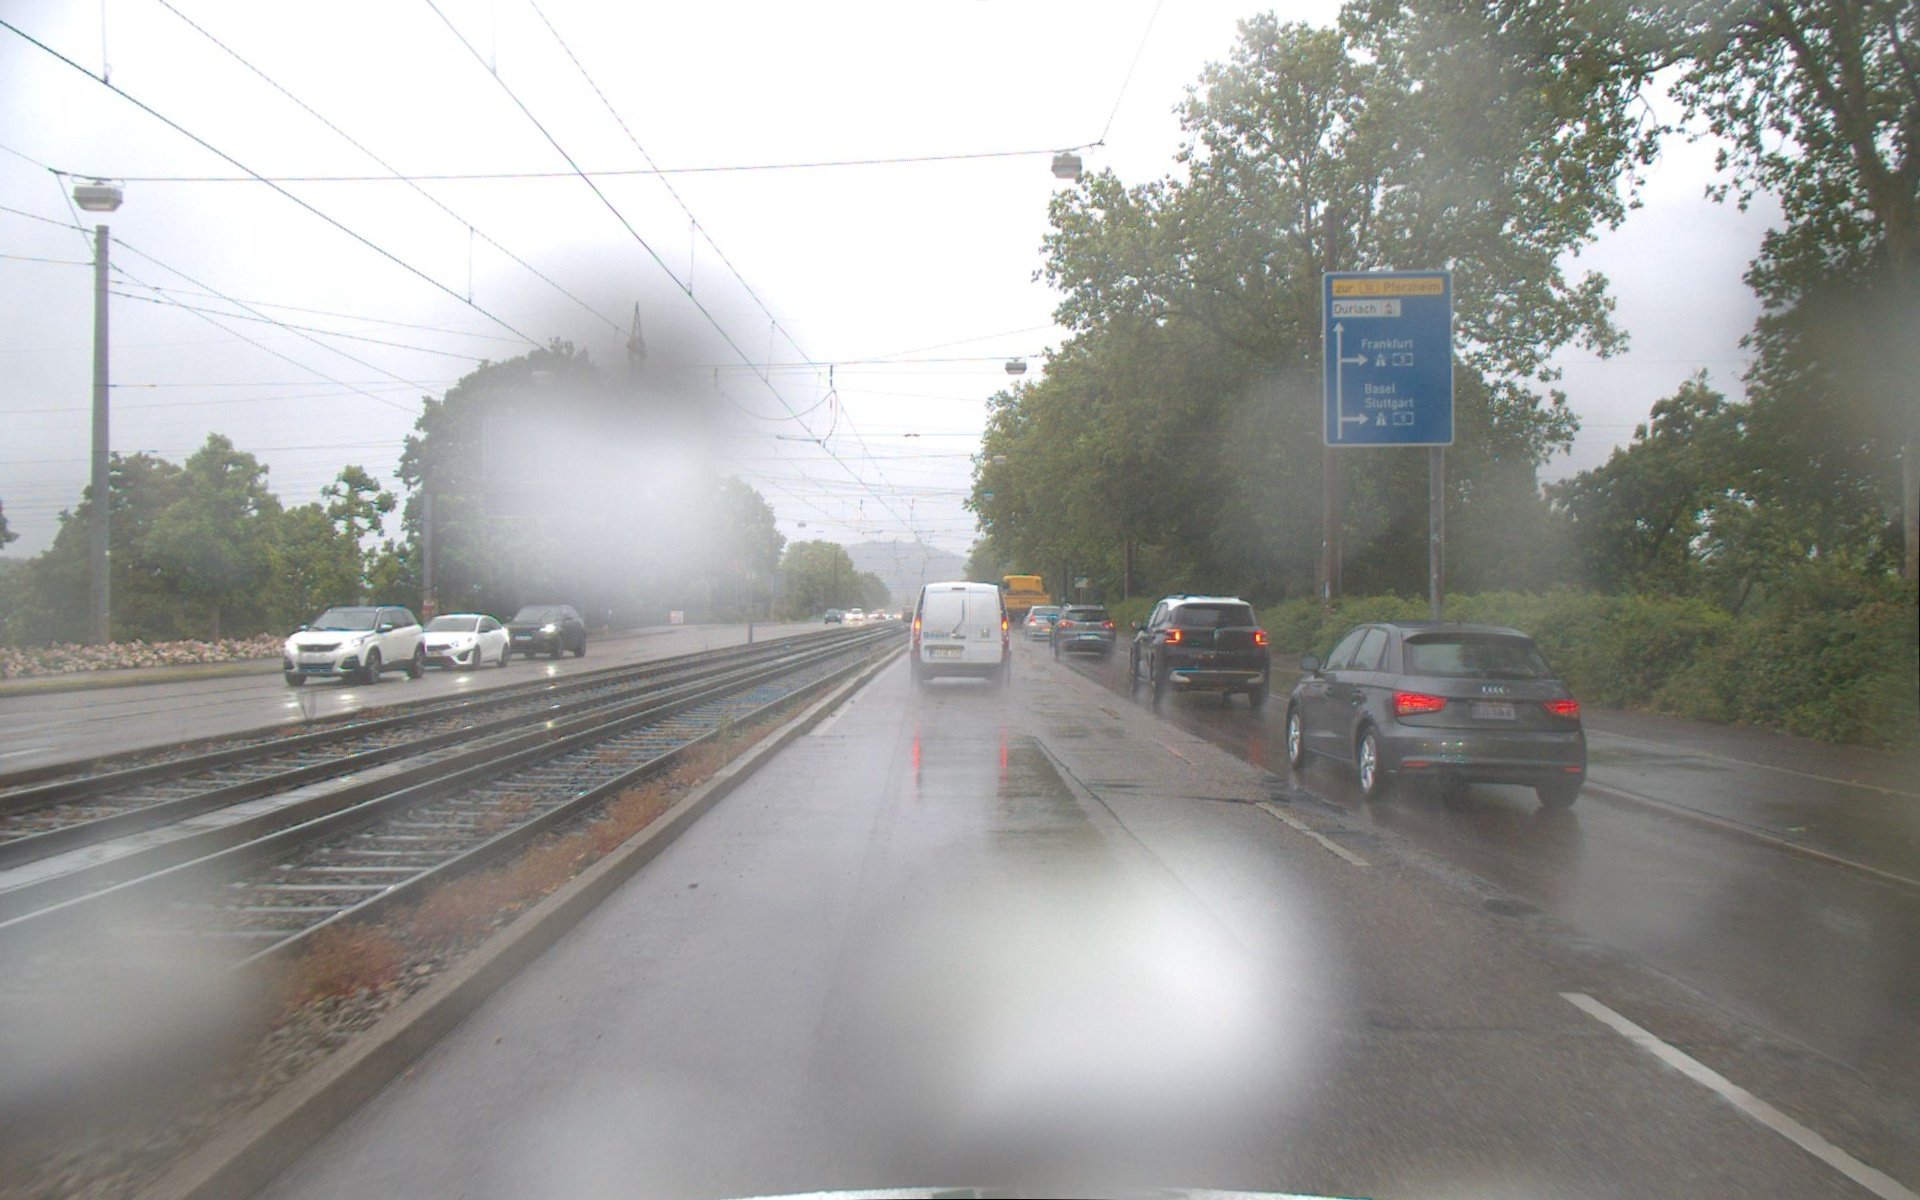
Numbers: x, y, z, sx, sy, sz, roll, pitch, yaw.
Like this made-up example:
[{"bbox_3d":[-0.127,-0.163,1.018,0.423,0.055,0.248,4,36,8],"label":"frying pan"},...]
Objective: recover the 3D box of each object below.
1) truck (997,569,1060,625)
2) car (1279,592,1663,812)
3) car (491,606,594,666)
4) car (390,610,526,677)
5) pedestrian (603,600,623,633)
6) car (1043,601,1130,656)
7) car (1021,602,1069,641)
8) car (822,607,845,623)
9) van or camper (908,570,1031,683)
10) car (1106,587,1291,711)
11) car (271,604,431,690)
[{"bbox_3d":[3.604,-0.170,88.226,3.049,2.822,6.328,1,0,0],"label":"truck"},{"bbox_3d":[4.109,0.736,14.050,1.928,1.555,3.990,1,1,-2],"label":"car"},{"bbox_3d":[-13.130,1.096,52.320,1.952,1.751,4.882,-1,0,0],"label":"car"},{"bbox_3d":[-13.213,1.103,43.809,1.952,1.611,4.767,-1,0,2],"label":"car"},{"bbox_3d":[-19.329,0.906,92.203,0.834,1.790,1.121,-1,0,0],"label":"pedestrian"},{"bbox_3d":[3.535,0.772,46.756,1.783,1.438,3.774,1,1,-6],"label":"car"},{"bbox_3d":[3.420,0.839,66.876,1.781,1.438,3.779,1,1,1],"label":"car"},{"bbox_3d":[-13.212,1.577,172.534,1.952,1.646,4.254,-1,0,2],"label":"car"},{"bbox_3d":[0.090,0.405,29.226,1.953,1.815,3.998,1,1,-2],"label":"van or camper"},{"bbox_3d":[3.673,0.698,26.335,1.862,1.747,4.721,1,1,-5],"label":"car"},{"bbox_3d":[-13.169,0.964,36.076,1.735,1.712,4.688,2,0,-1],"label":"car"}]
